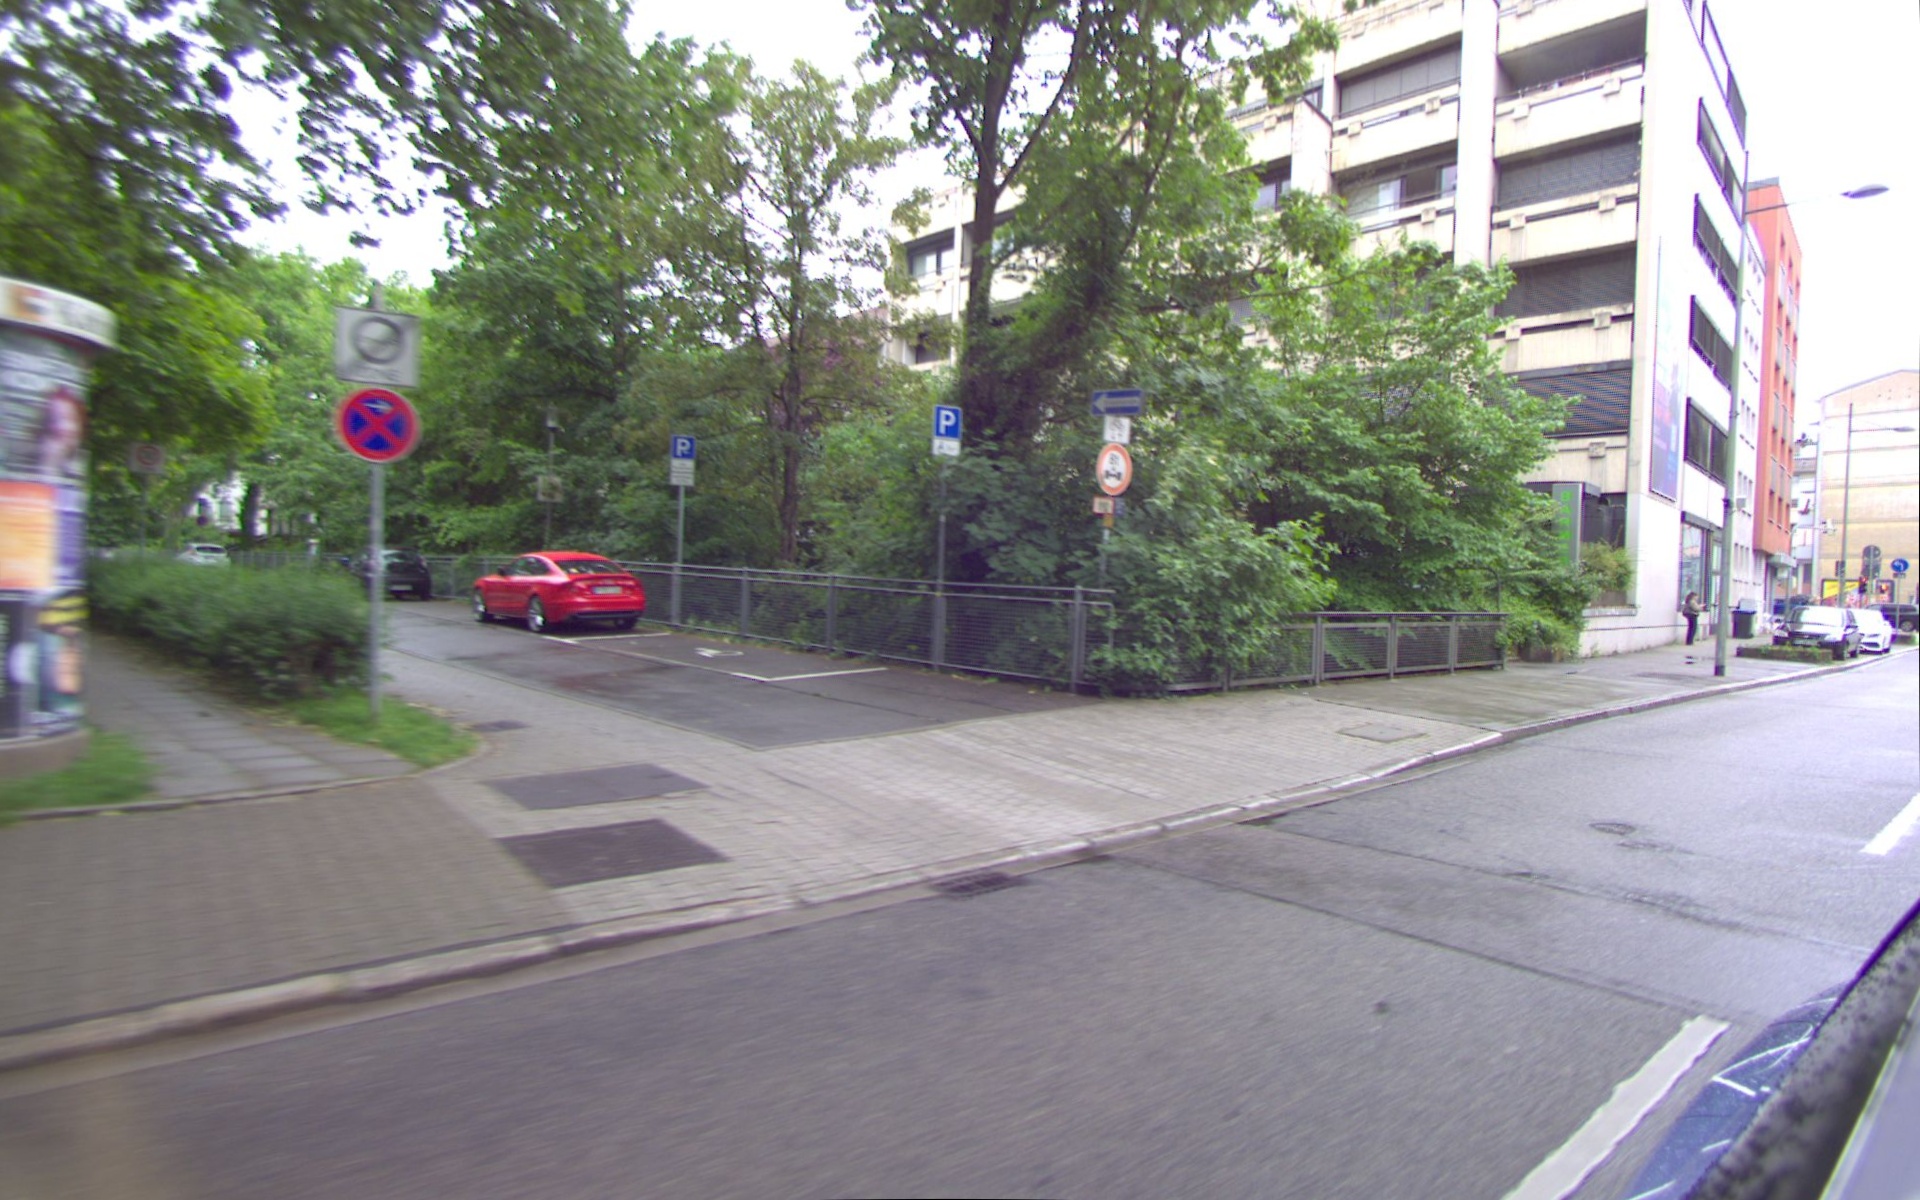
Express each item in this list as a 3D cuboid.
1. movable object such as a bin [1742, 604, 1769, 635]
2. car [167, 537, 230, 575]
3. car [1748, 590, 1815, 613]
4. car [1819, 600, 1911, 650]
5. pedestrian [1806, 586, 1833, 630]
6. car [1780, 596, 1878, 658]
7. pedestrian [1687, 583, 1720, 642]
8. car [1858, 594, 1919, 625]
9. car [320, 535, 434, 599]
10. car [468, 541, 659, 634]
[{"bbox_3d":[29.586,0.727,37.645,0.505,1.117,0.680,1,1,-43],"label":"movable object such as a bin"},{"bbox_3d":[-35.238,-2.047,46.805,3.922,1.590,1.708,4,2,44],"label":"car"},{"bbox_3d":[66.862,0.124,82.427,1.801,1.732,3.800,1,1,-22],"label":"car"},{"bbox_3d":[30.002,0.795,33.520,4.493,1.437,1.833,1,3,-43],"label":"car"},{"bbox_3d":[43.872,0.388,51.676,0.797,2.180,0.732,2,1,25],"label":"pedestrian"},{"bbox_3d":[25.063,0.743,29.153,3.741,1.577,1.705,1,3,-43],"label":"car"},{"bbox_3d":[22.286,0.369,30.334,0.598,1.679,0.681,6,4,42],"label":"pedestrian"},{"bbox_3d":[55.080,0.555,58.726,1.840,1.705,4.008,1,1,-23],"label":"car"},{"bbox_3d":[-15.874,-0.925,27.478,1.707,1.590,3.924,1,2,-45],"label":"car"},{"bbox_3d":[-7.470,-0.298,18.884,3.989,1.499,1.847,4,4,44],"label":"car"}]
